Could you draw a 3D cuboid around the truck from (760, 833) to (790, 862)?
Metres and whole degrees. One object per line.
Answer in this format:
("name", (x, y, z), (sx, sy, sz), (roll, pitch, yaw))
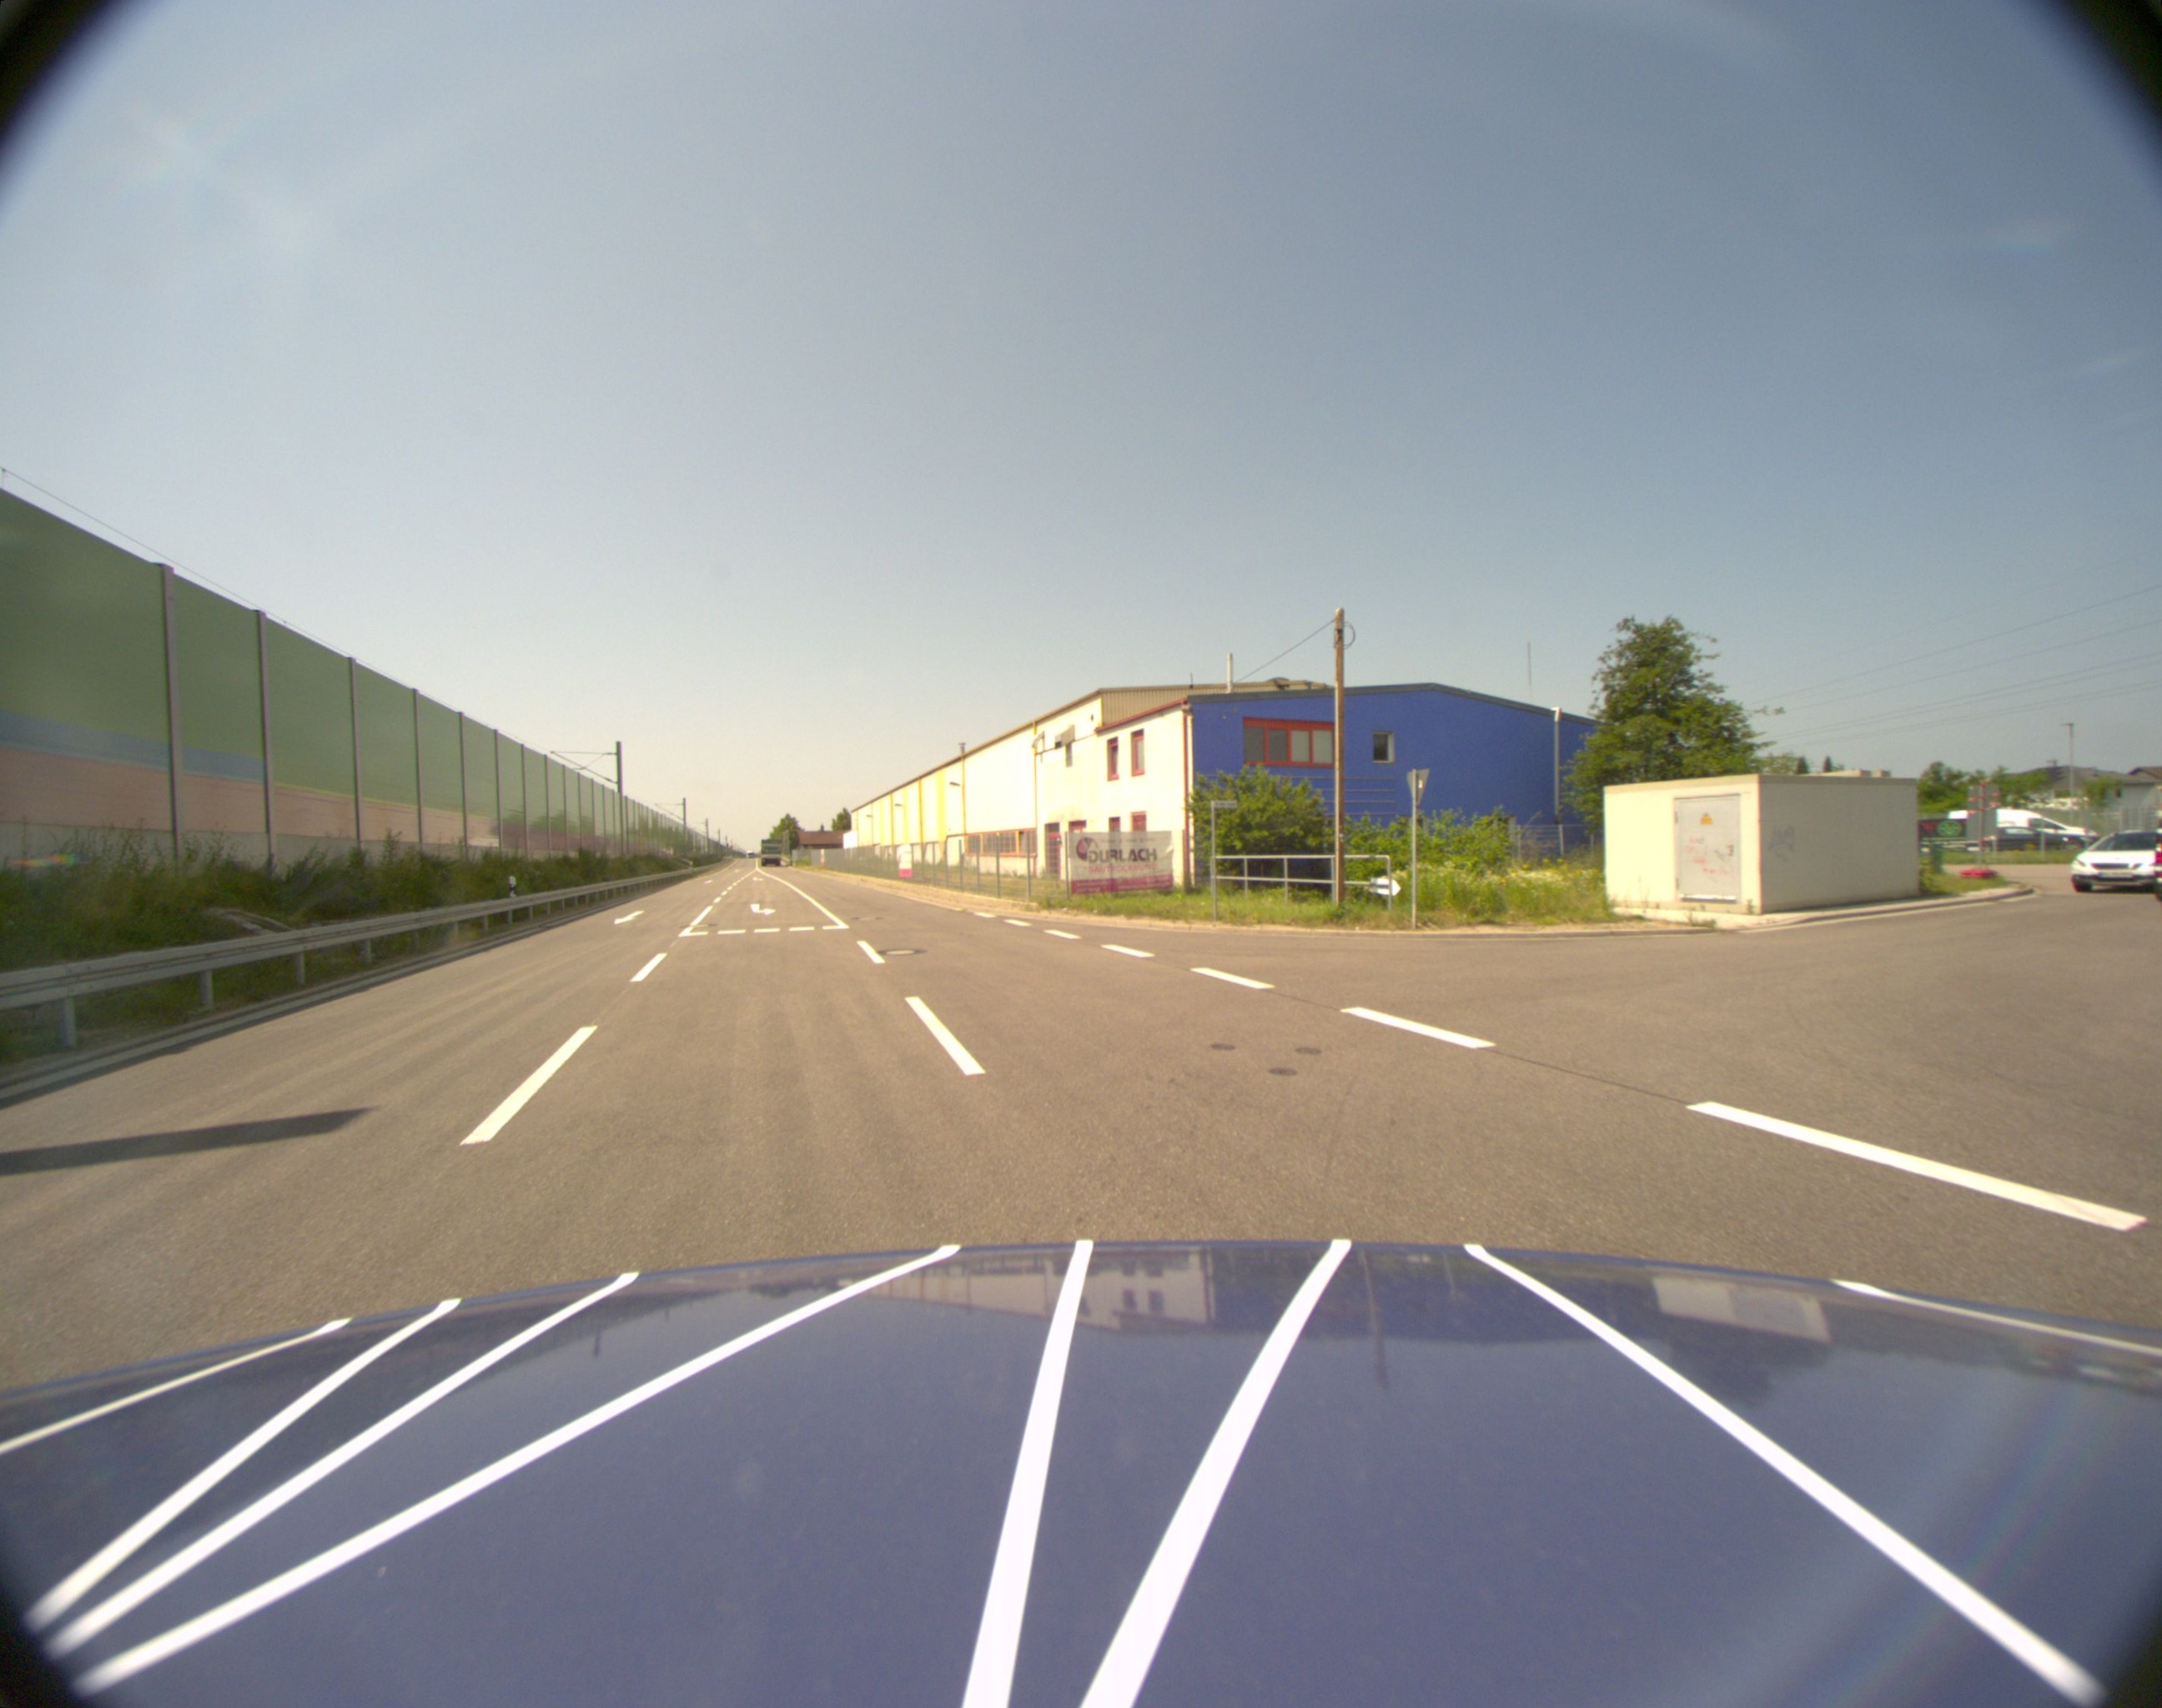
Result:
("truck", (-43.164, -0.802, 107.301), (3.570, 3.855, 11.394), (-1, 0, -22))

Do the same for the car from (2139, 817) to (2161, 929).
("car", (22.275, 0.316, 14.166), (4.819, 2.049, 2.005), (-1, 2, -24))

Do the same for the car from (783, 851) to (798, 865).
("car", (-45.188, 0.607, 118.041), (2.002, 2.002, 3.993), (-1, 0, -22))

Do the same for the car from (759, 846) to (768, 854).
("car", (-79.223, -0.999, 189.646), (2.002, 2.002, 3.993), (-1, 0, -22))

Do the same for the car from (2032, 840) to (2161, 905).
("car", (27.093, 0.421, 19.797), (4.166, 1.494, 1.772), (-2, 1, -22))

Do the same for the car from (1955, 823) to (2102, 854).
("car", (47.793, -0.745, 38.436), (2.004, 1.419, 4.565), (-1, 0, -36))

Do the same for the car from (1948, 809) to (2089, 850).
("car", (49.854, -1.250, 40.582), (2.004, 2.002, 4.640), (-1, 0, -41))
